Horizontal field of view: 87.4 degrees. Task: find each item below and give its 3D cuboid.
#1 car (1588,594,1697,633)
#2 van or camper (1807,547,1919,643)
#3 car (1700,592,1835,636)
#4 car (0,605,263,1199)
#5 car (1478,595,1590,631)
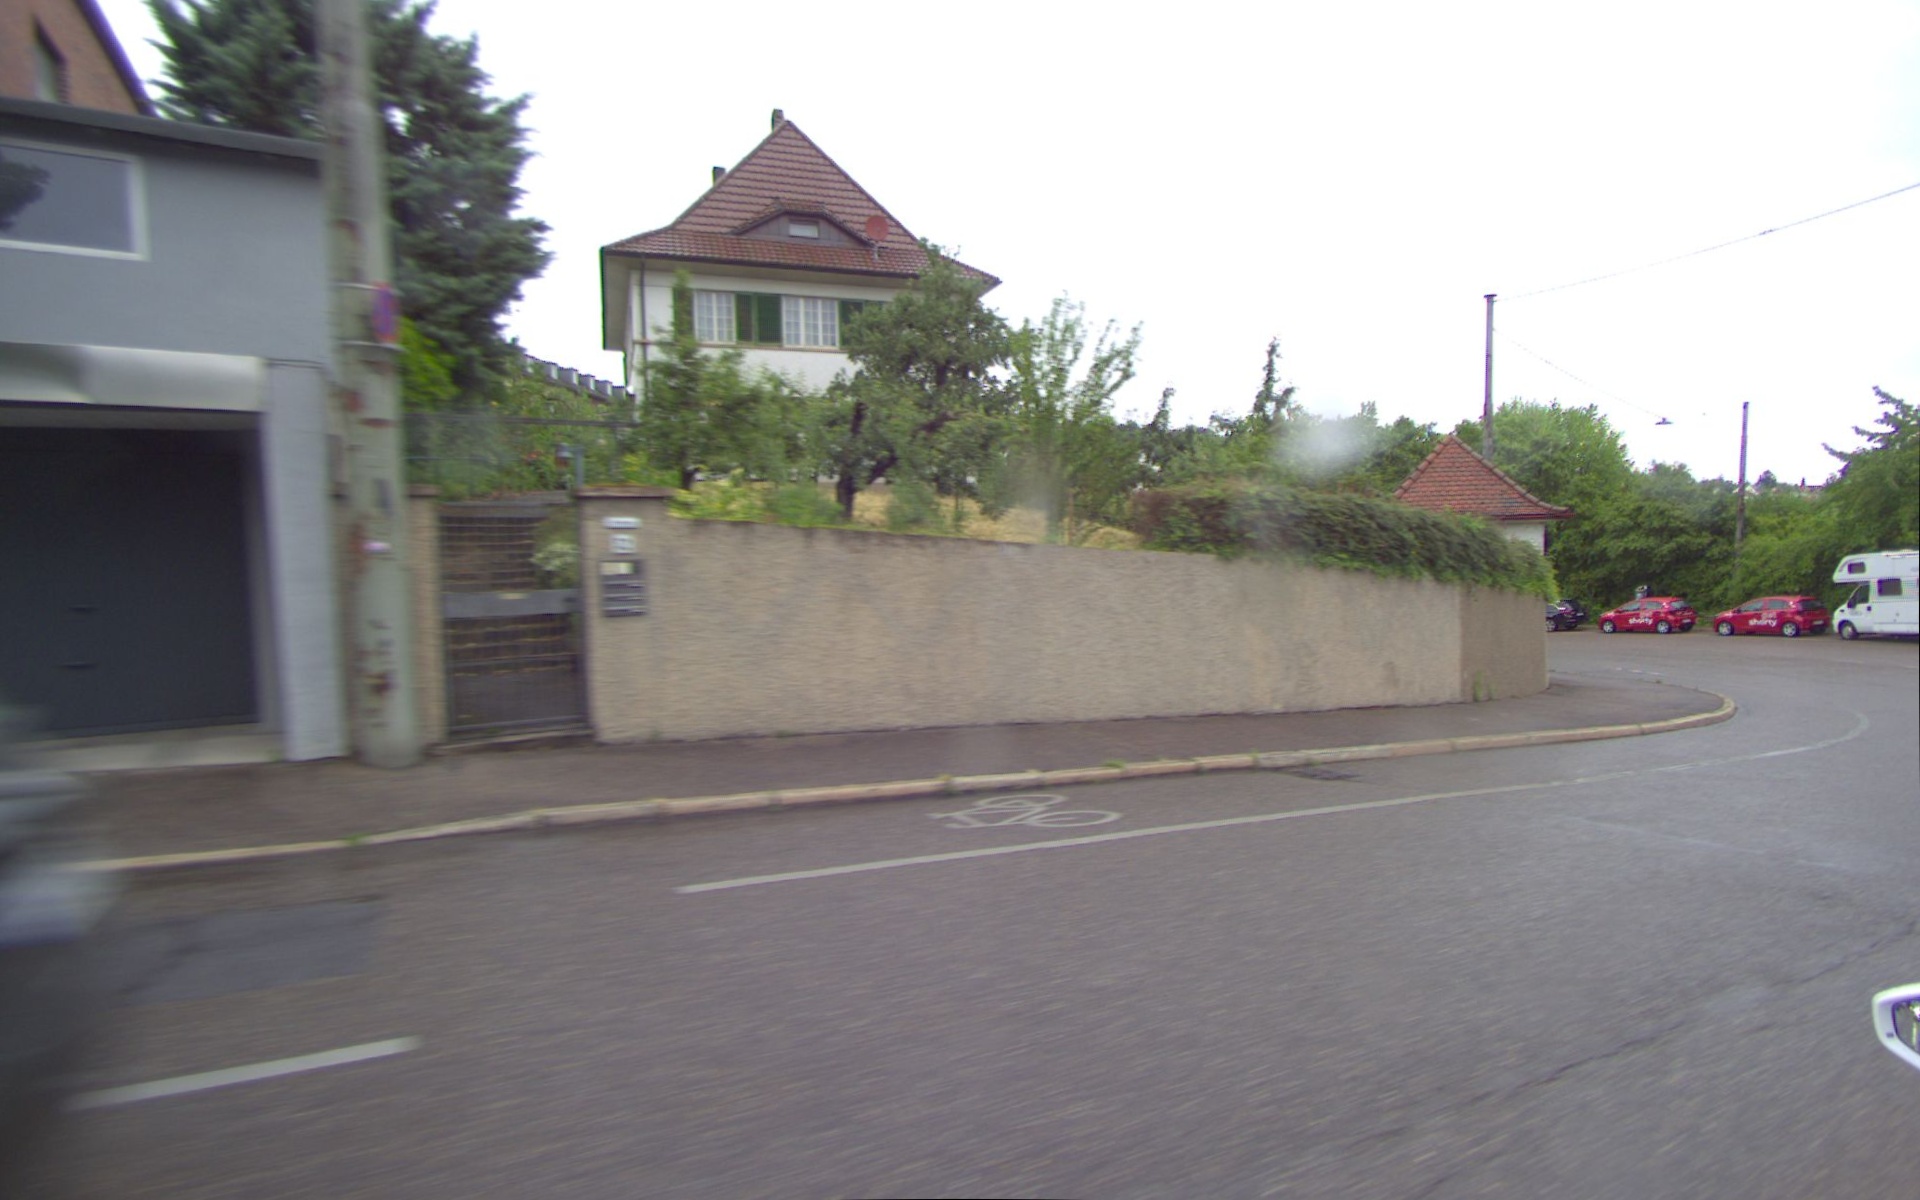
[{"bbox_3d":[29.918,0.574,44.125,1.541,1.533,3.656,-5,2,-22],"label":"car"},{"bbox_3d":[31.962,-0.209,33.361,2.350,2.983,6.282,-5,1,2],"label":"van or camper"},{"bbox_3d":[31.440,0.548,39.219,1.620,1.480,3.792,-6,1,-17],"label":"car"},{"bbox_3d":[-3.294,0.812,1.153,3.929,1.541,1.759,-1,1,-31],"label":"car"},{"bbox_3d":[27.911,0.651,49.009,1.701,1.533,4.565,-5,1,-26],"label":"car"}]
